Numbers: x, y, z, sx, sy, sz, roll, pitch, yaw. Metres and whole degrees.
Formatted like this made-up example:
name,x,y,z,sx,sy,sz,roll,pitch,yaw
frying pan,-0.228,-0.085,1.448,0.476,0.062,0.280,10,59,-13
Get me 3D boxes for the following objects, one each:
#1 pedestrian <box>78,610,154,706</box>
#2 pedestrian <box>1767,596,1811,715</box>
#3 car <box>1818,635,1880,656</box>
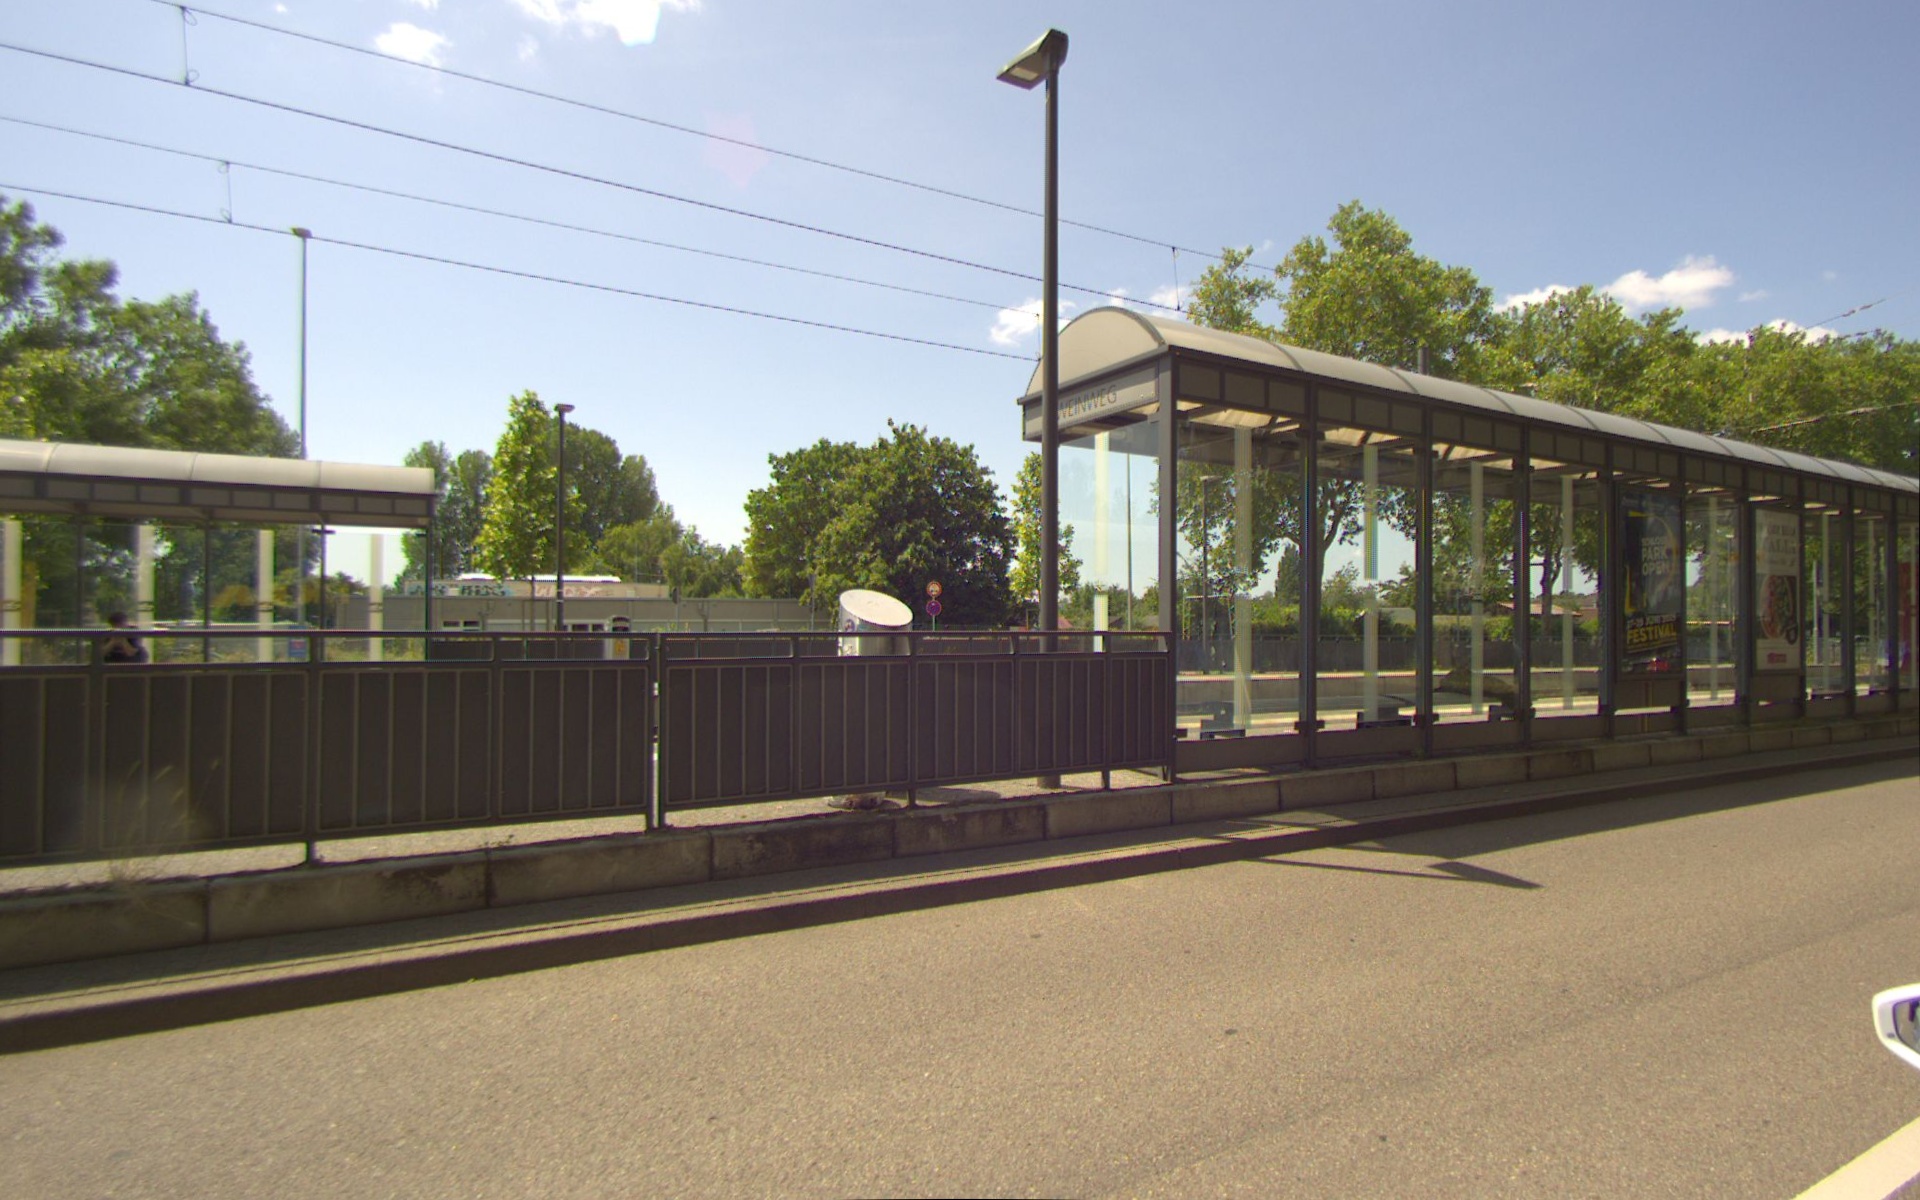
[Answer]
name,x,y,z,sx,sy,sz,roll,pitch,yaw
pedestrian,-10.910,0.736,13.007,0.631,1.206,0.574,1,-1,-29
pedestrian,10.828,0.717,13.122,0.412,1.528,0.394,0,-1,37
car,66.579,3.363,75.244,1.641,1.495,3.288,2,-2,-41
